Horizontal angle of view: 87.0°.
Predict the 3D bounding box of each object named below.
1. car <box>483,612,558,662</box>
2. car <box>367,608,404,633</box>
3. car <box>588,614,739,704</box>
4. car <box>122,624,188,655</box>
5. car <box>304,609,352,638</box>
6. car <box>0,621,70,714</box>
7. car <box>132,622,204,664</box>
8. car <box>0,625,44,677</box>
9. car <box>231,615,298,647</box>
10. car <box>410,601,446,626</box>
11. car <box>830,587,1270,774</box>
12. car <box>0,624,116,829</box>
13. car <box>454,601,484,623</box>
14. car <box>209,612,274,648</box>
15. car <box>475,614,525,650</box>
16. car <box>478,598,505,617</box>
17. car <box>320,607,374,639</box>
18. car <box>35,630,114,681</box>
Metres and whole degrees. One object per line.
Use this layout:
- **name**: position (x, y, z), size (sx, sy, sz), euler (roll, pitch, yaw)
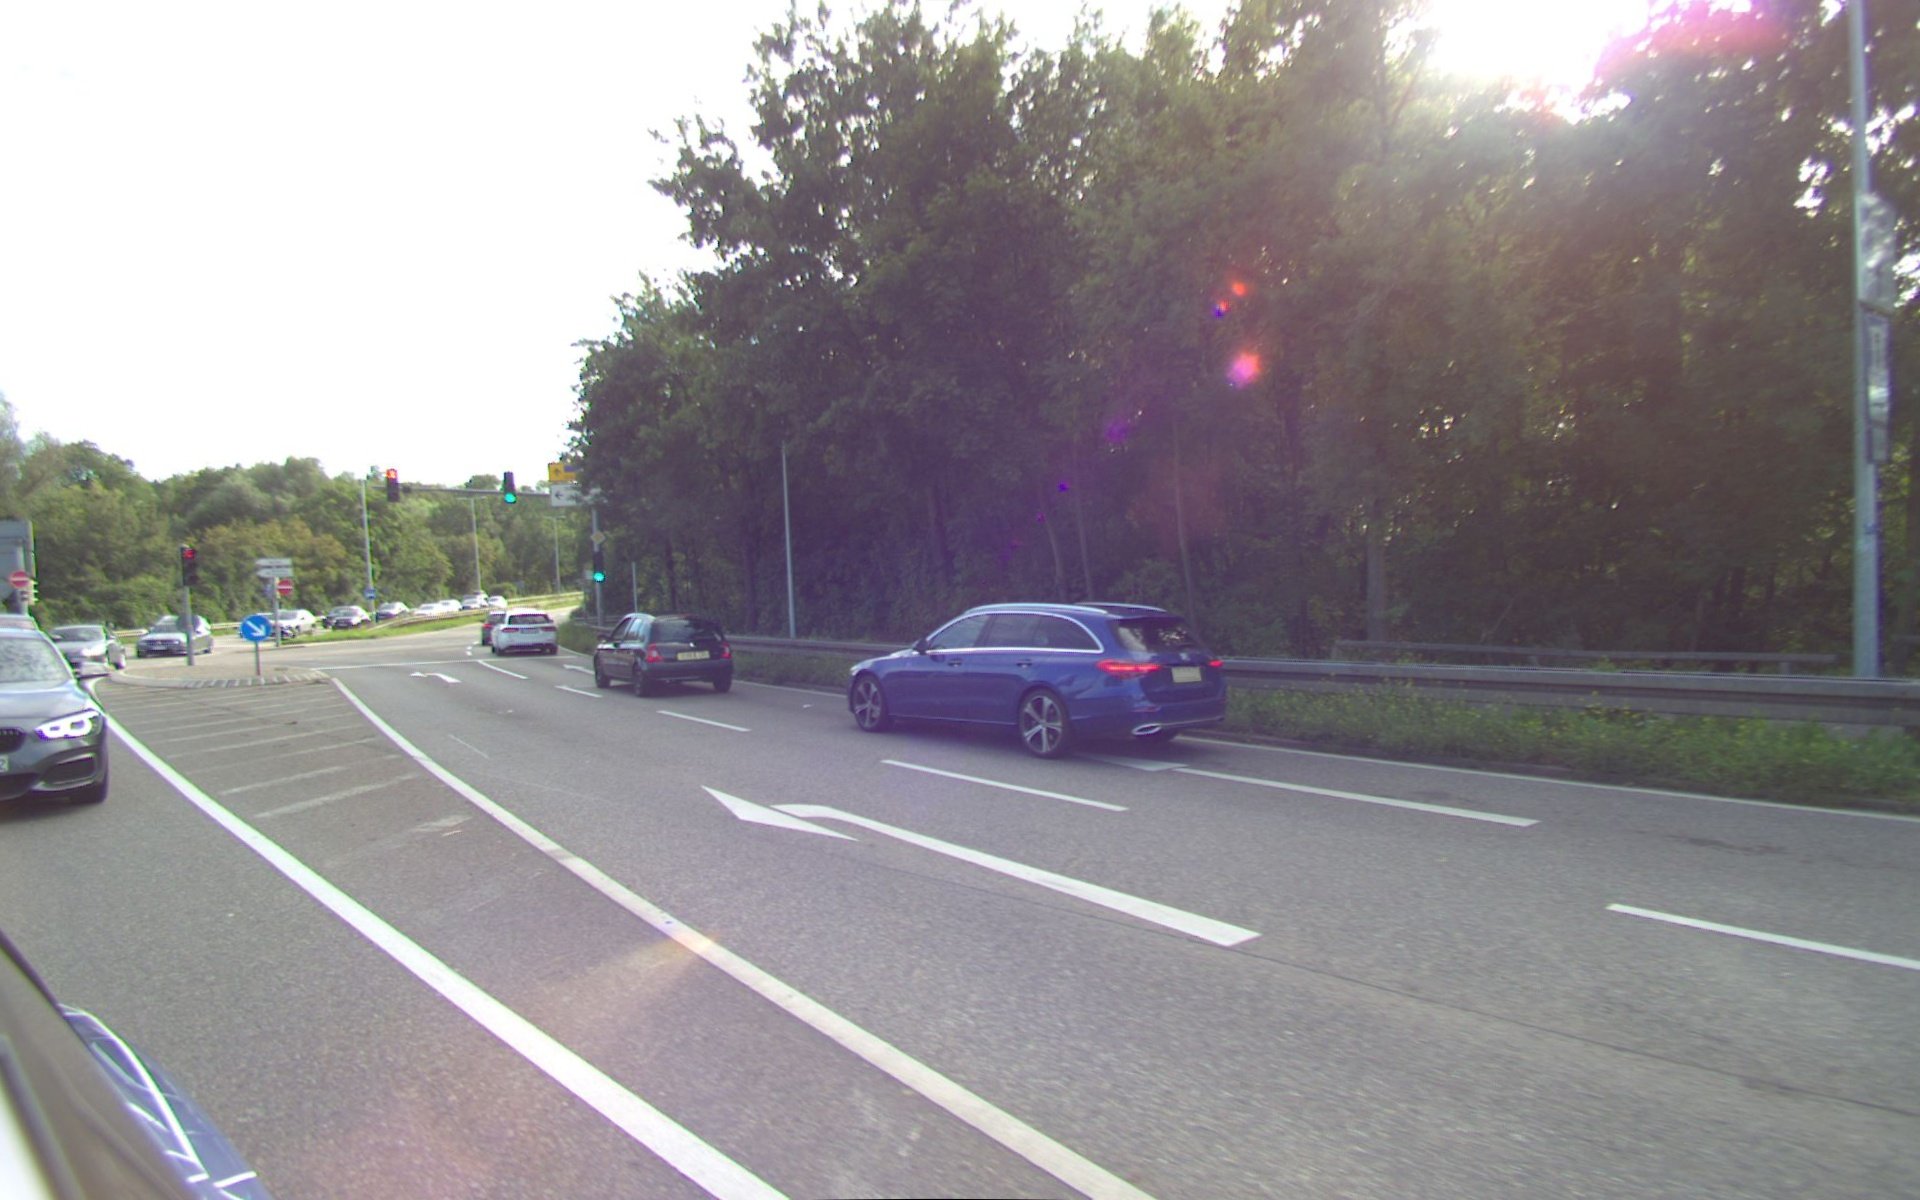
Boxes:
- **car**: position (-14.858, 1.197, 34.063), size (1.789, 1.531, 4.841), euler (-1, 0, -29)
- **car**: position (-49.152, 1.742, 86.618), size (1.966, 2.029, 4.012), euler (-1, 0, -18)
- **car**: position (-5.352, 0.966, 17.963), size (1.602, 1.376, 3.784), euler (-1, 0, -32)
- **car**: position (-39.712, 1.926, 50.019), size (1.613, 1.414, 3.753), euler (-1, 0, -24)
- **car**: position (-47.084, 1.731, 75.503), size (1.966, 2.029, 4.012), euler (-1, 0, -16)
- **car**: position (-17.471, 1.185, 18.309), size (1.791, 1.518, 4.400), euler (-1, 0, -38)
- **car**: position (-32.682, 1.730, 41.871), size (1.613, 1.564, 3.753), euler (-1, 0, -27)
- **car**: position (-31.785, 1.654, 32.979), size (1.966, 1.563, 4.012), euler (-1, 0, -29)
- **car**: position (-38.689, 1.699, 56.429), size (1.966, 1.612, 4.295), euler (-1, 0, -19)
- **car**: position (-45.243, 1.103, 86.188), size (1.966, 2.029, 4.012), euler (-1, 0, -17)
- **car**: position (0.679, 0.718, 10.725), size (1.791, 1.532, 4.772), euler (1, -2, -40)
- **car**: position (-8.384, 0.952, 8.276), size (3.970, 1.414, 1.762), euler (-2, 0, 43)
- **car**: position (-47.271, 1.156, 97.437), size (1.966, 2.029, 4.012), euler (-1, 0, -17)
- **car**: position (-43.992, 1.780, 62.040), size (1.966, 2.029, 4.012), euler (-1, 0, -16)
- **car**: position (-19.826, 1.358, 43.529), size (1.788, 1.414, 4.405), euler (-1, 0, -26)
- **car**: position (-53.531, 0.866, 115.621), size (1.967, 2.029, 4.010), euler (-1, 0, -13)
- **car**: position (-41.769, 1.530, 69.106), size (1.966, 2.029, 4.284), euler (-1, 0, -14)
- **car**: position (-26.367, 1.605, 30.109), size (1.666, 1.333, 3.789), euler (-1, 0, -42)
